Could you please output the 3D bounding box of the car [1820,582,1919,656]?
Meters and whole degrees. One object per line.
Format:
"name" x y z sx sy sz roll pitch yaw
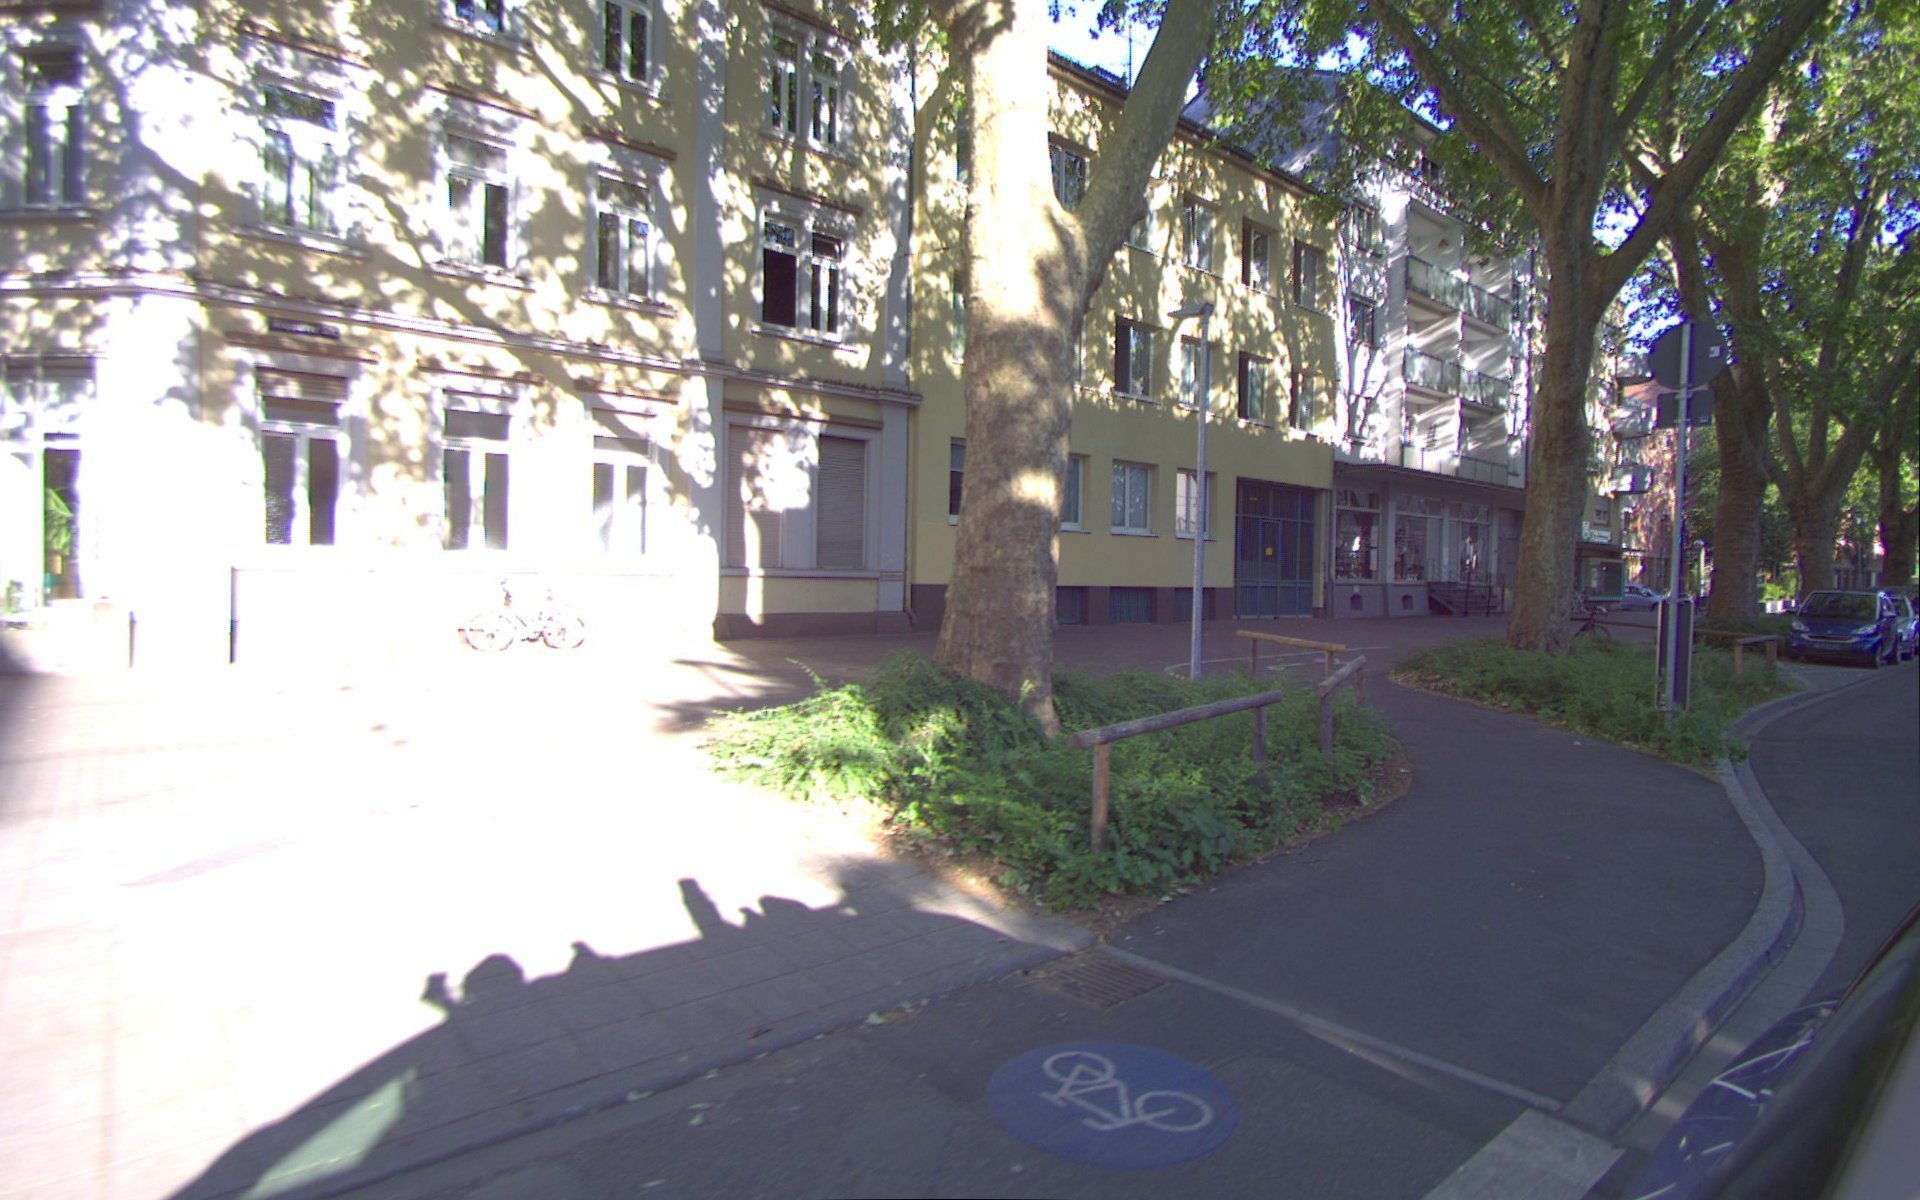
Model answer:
"car" 21.807 0.381 23.889 4.528 1.453 1.819 -2 4 -44

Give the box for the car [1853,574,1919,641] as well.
"car" 25.835 0.161 27.425 4.701 1.622 1.861 -2 4 -42

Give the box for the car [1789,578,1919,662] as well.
"car" 18.516 0.350 20.873 2.858 1.537 1.568 -1 4 -38

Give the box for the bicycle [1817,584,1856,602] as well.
"bicycle" 63.777 -0.499 73.682 0.562 1.170 2.037 0 4 -39

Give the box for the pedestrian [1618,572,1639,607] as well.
"pedestrian" 33.090 -0.517 50.082 0.695 1.703 0.656 2 2 23

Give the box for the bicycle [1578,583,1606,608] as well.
"bicycle" 26.855 -0.213 42.983 0.571 1.009 1.752 5 4 45

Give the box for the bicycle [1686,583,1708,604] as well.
"bicycle" 44.266 -0.390 60.776 1.666 1.170 0.602 0 3 -38

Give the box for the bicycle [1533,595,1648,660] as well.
"bicycle" 11.813 0.490 19.037 0.500 1.017 1.975 1 4 -14

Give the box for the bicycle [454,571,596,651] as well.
"bicycle" -6.591 0.142 15.395 1.889 1.117 0.584 -1 4 -41

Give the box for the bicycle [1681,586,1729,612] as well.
"bicycle" 36.928 -0.079 50.194 1.781 1.170 0.738 4 3 29

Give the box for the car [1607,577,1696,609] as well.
"car" 39.943 -0.427 58.523 1.833 1.713 3.870 0 2 -40

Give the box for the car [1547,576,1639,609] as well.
"car" 34.785 -0.415 55.691 1.833 1.572 3.870 3 0 -40
